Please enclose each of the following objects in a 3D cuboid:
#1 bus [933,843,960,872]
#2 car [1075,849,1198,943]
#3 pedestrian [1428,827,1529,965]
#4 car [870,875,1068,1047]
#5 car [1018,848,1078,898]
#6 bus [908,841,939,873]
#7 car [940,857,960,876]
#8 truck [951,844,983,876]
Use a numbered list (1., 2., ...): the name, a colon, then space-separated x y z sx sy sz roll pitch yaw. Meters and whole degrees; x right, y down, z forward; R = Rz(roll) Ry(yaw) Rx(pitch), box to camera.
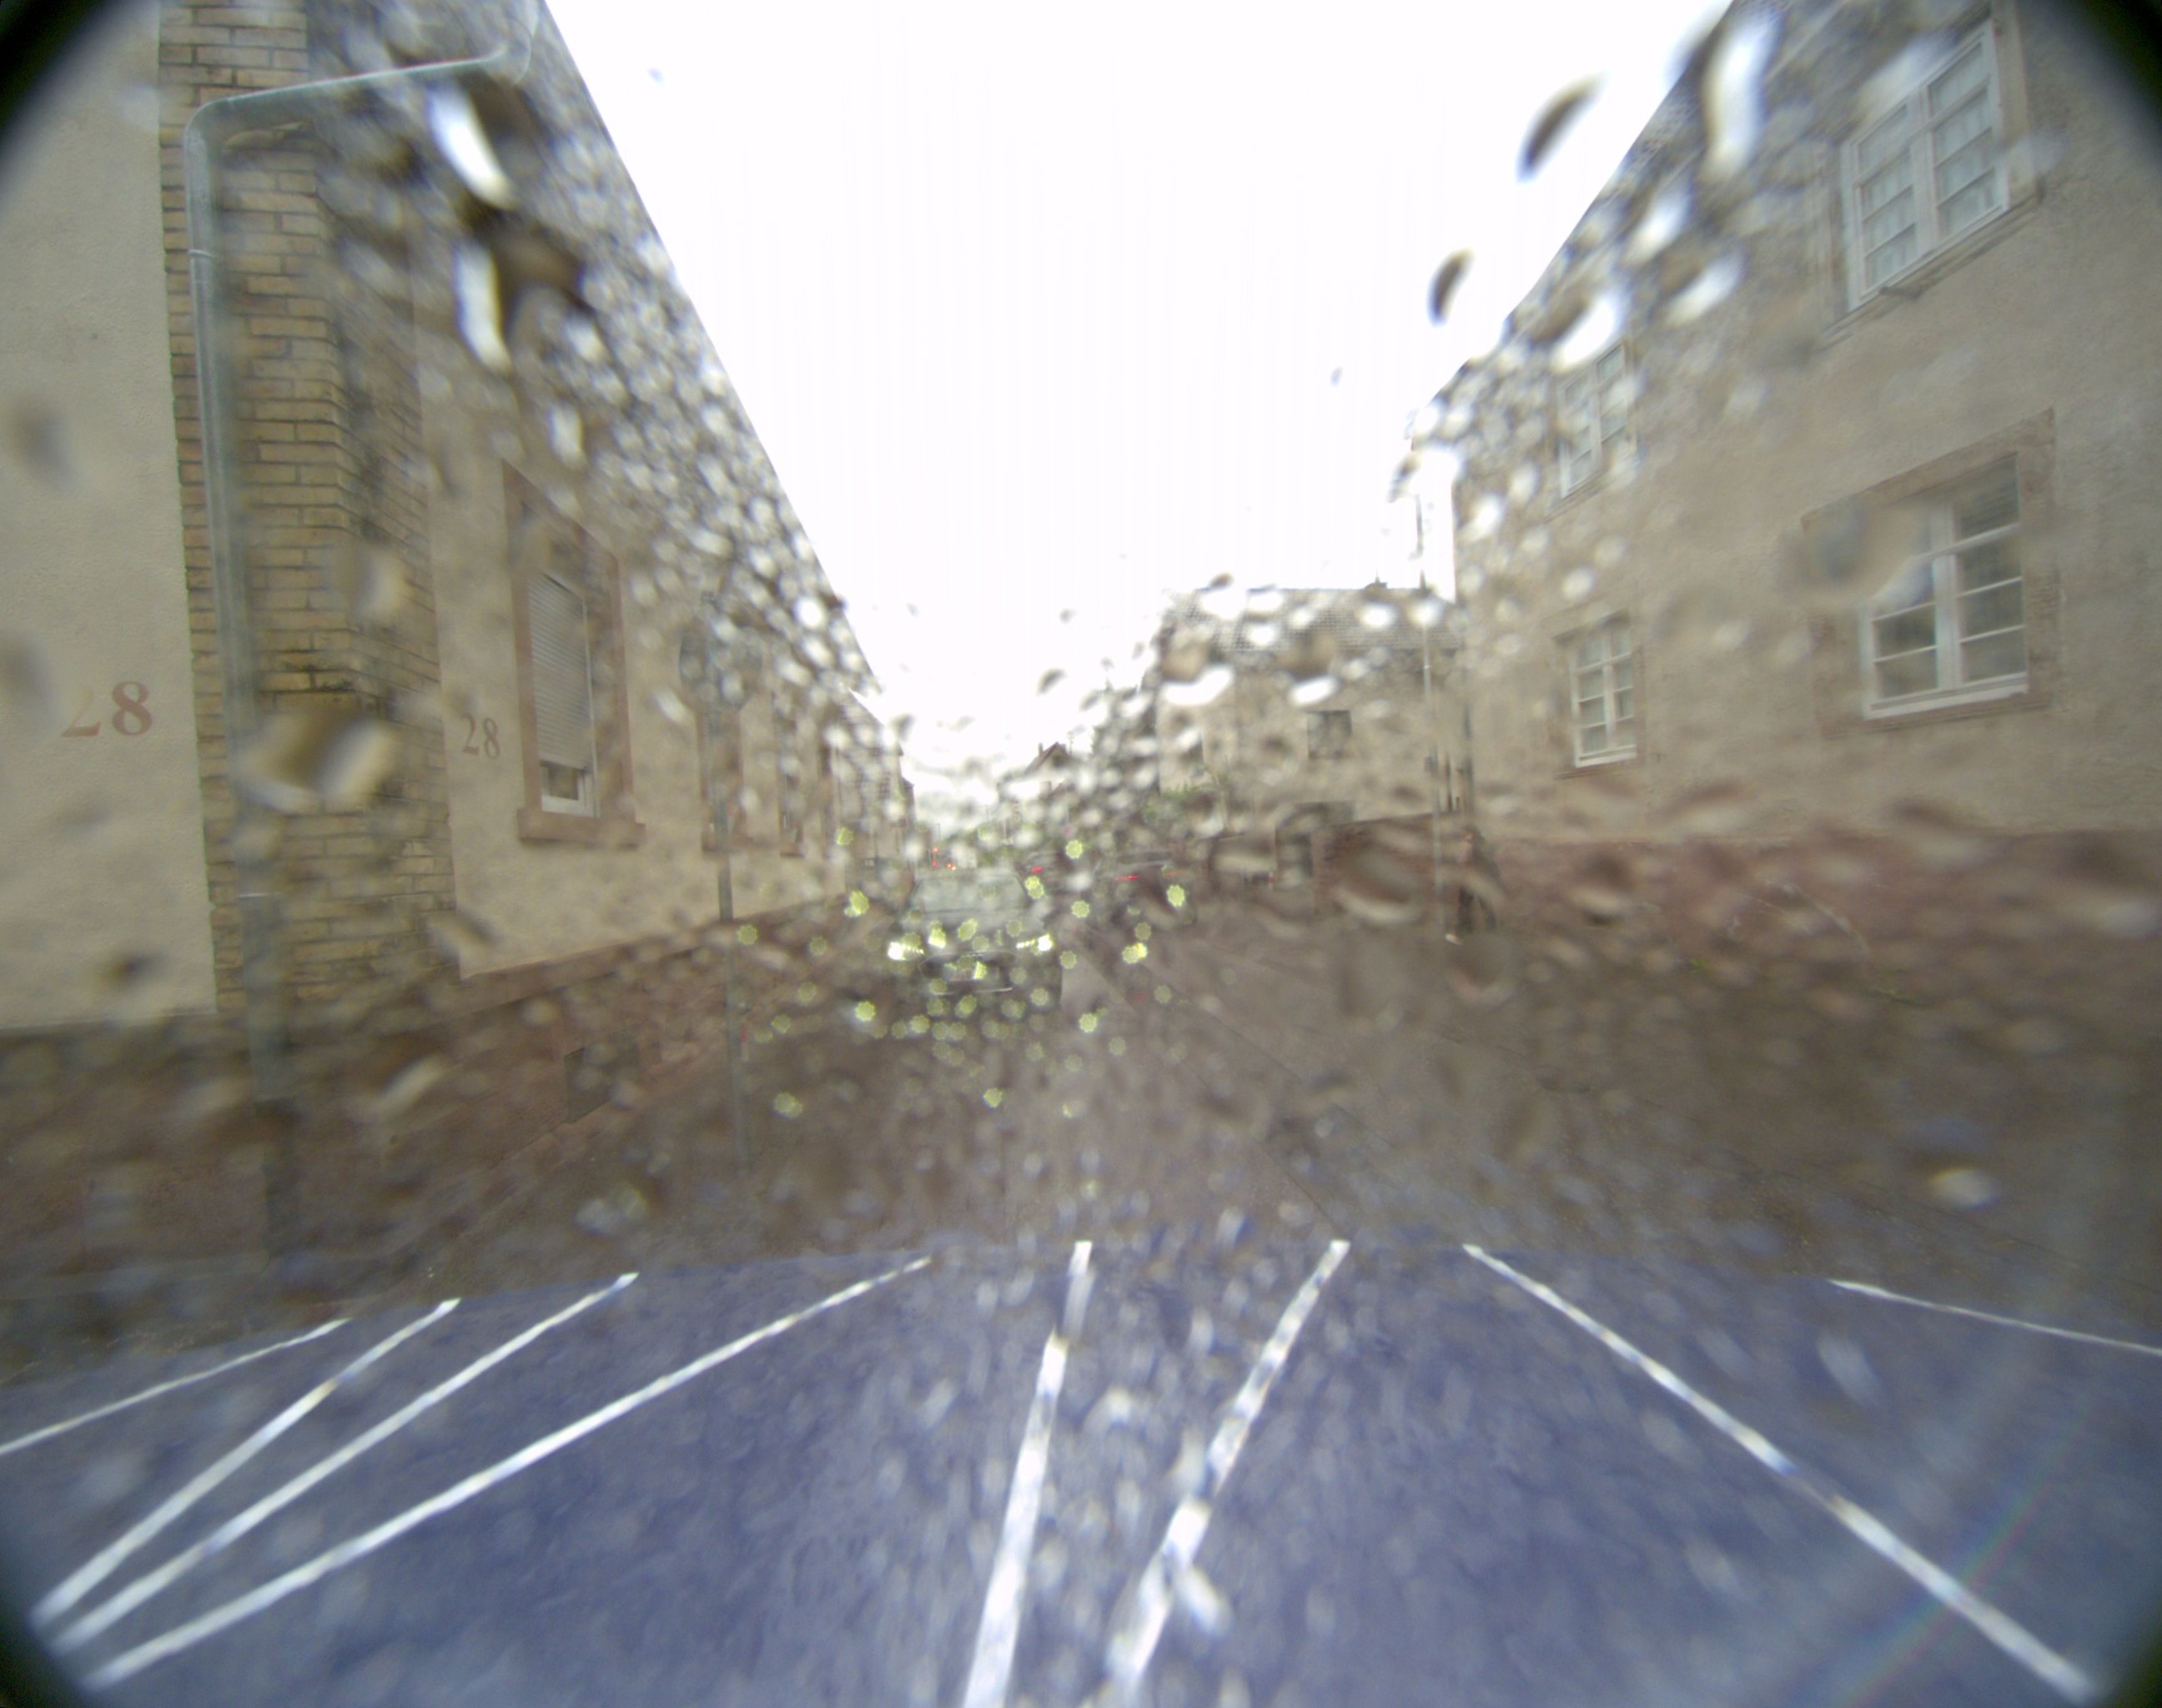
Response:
1. bus: -16.593 0.385 93.198 2.670 3.213 12.178 -2 1 -12
2. car: 0.996 0.749 15.561 1.627 1.502 3.790 -6 1 -8
3. pedestrian: 4.752 0.482 9.132 0.574 1.529 0.832 -5 1 -12
4. car: -1.323 1.019 8.978 1.740 1.363 4.098 -2 0 -9
5. car: -1.367 0.668 29.725 1.786 1.655 4.422 -5 2 -8
6. bus: -17.626 0.339 84.428 2.671 3.213 12.175 -2 1 -15
7. car: -13.444 1.250 77.950 1.803 1.805 3.997 -2 1 -8
8. truck: -9.447 0.475 62.604 2.001 2.490 5.643 -2 1 -14
